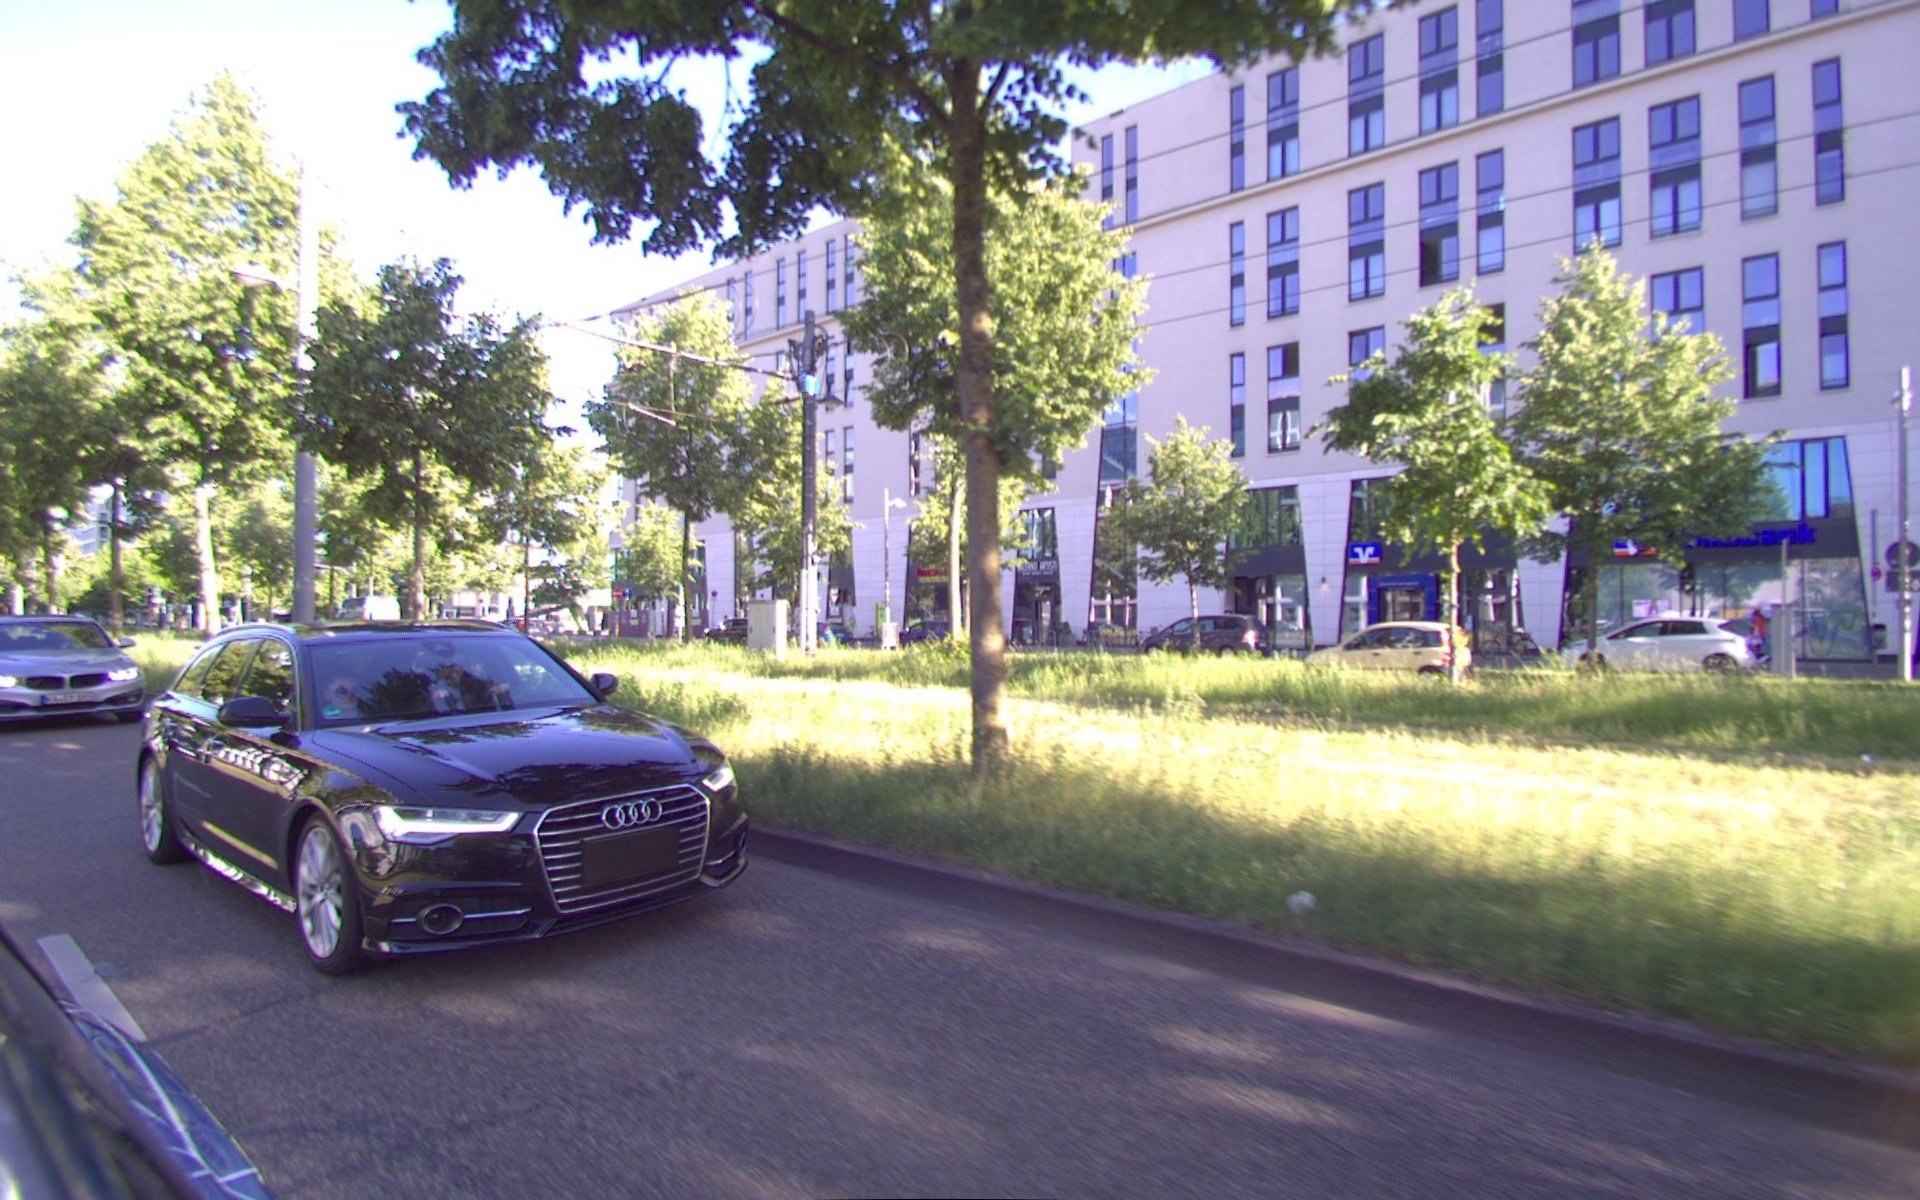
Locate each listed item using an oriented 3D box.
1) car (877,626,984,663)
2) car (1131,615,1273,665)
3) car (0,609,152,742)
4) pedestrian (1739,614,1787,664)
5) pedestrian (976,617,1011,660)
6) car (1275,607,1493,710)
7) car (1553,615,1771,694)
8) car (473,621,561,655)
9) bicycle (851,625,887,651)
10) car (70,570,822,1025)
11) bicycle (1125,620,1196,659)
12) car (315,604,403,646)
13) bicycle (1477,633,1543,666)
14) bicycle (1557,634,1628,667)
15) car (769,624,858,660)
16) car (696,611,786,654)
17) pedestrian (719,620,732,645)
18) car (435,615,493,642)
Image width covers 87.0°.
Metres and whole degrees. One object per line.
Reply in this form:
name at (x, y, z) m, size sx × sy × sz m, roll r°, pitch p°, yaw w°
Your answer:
car at (-1.255, 1.784, 41.580) m, size 4.331 × 1.424 × 1.706 m, roll -1°, pitch -2°, yaw 38°
car at (7.856, 1.270, 33.078) m, size 4.268 × 1.491 × 1.542 m, roll -1°, pitch -1°, yaw 41°
car at (-12.968, 0.946, 14.192) m, size 4.276 × 1.590 × 1.862 m, roll -1°, pitch 1°, yaw 42°
pedestrian at (24.589, 1.173, 31.001) m, size 1.024 × 1.479 × 0.939 m, roll -1°, pitch 0°, yaw 32°
pedestrian at (1.396, 1.615, 42.475) m, size 1.222 × 1.756 × 0.834 m, roll -1°, pitch 0°, yaw 42°
car at (9.315, 1.190, 22.392) m, size 4.001 × 2.029 × 1.971 m, roll -1°, pitch 1°, yaw 44°
car at (17.490, 1.280, 25.320) m, size 4.334 × 1.742 × 1.974 m, roll -1°, pitch 1°, yaw 39°
car at (-20.777, 1.741, 47.408) m, size 4.452 × 1.452 × 1.974 m, roll -1°, pitch 1°, yaw 39°
bicycle at (-4.877, 2.005, 54.144) m, size 0.654 × 1.334 × 2.338 m, roll -1°, pitch 0°, yaw -42°
car at (-3.226, 0.735, 5.710) m, size 5.080 × 1.492 × 1.933 m, roll -2°, pitch -2°, yaw 40°
bicycle at (8.340, 1.633, 42.290) m, size 3.034 × 1.557 × 0.611 m, roll -1°, pitch 0°, yaw 44°
car at (-36.673, 1.501, 61.668) m, size 6.017 × 2.399 × 2.483 m, roll -1°, pitch 0°, yaw 37°
bicycle at (18.391, 1.642, 33.866) m, size 0.610 × 0.996 × 1.850 m, roll -1°, pitch 0°, yaw -43°
bicycle at (20.109, 1.602, 32.211) m, size 1.848 × 0.960 × 0.573 m, roll -1°, pitch 1°, yaw 43°
car at (-6.776, 1.896, 46.657) m, size 3.998 × 1.584 × 1.973 m, roll -1°, pitch -1°, yaw 41°
car at (-10.878, 1.604, 50.098) m, size 4.549 × 2.029 × 1.974 m, roll -1°, pitch -2°, yaw 39°
pedestrian at (-14.257, 1.987, 61.464) m, size 0.459 × 1.470 × 0.595 m, roll -1°, pitch 0°, yaw 44°
car at (-35.666, 2.034, 72.742) m, size 4.416 × 1.822 × 2.079 m, roll -1°, pitch 1°, yaw 39°
